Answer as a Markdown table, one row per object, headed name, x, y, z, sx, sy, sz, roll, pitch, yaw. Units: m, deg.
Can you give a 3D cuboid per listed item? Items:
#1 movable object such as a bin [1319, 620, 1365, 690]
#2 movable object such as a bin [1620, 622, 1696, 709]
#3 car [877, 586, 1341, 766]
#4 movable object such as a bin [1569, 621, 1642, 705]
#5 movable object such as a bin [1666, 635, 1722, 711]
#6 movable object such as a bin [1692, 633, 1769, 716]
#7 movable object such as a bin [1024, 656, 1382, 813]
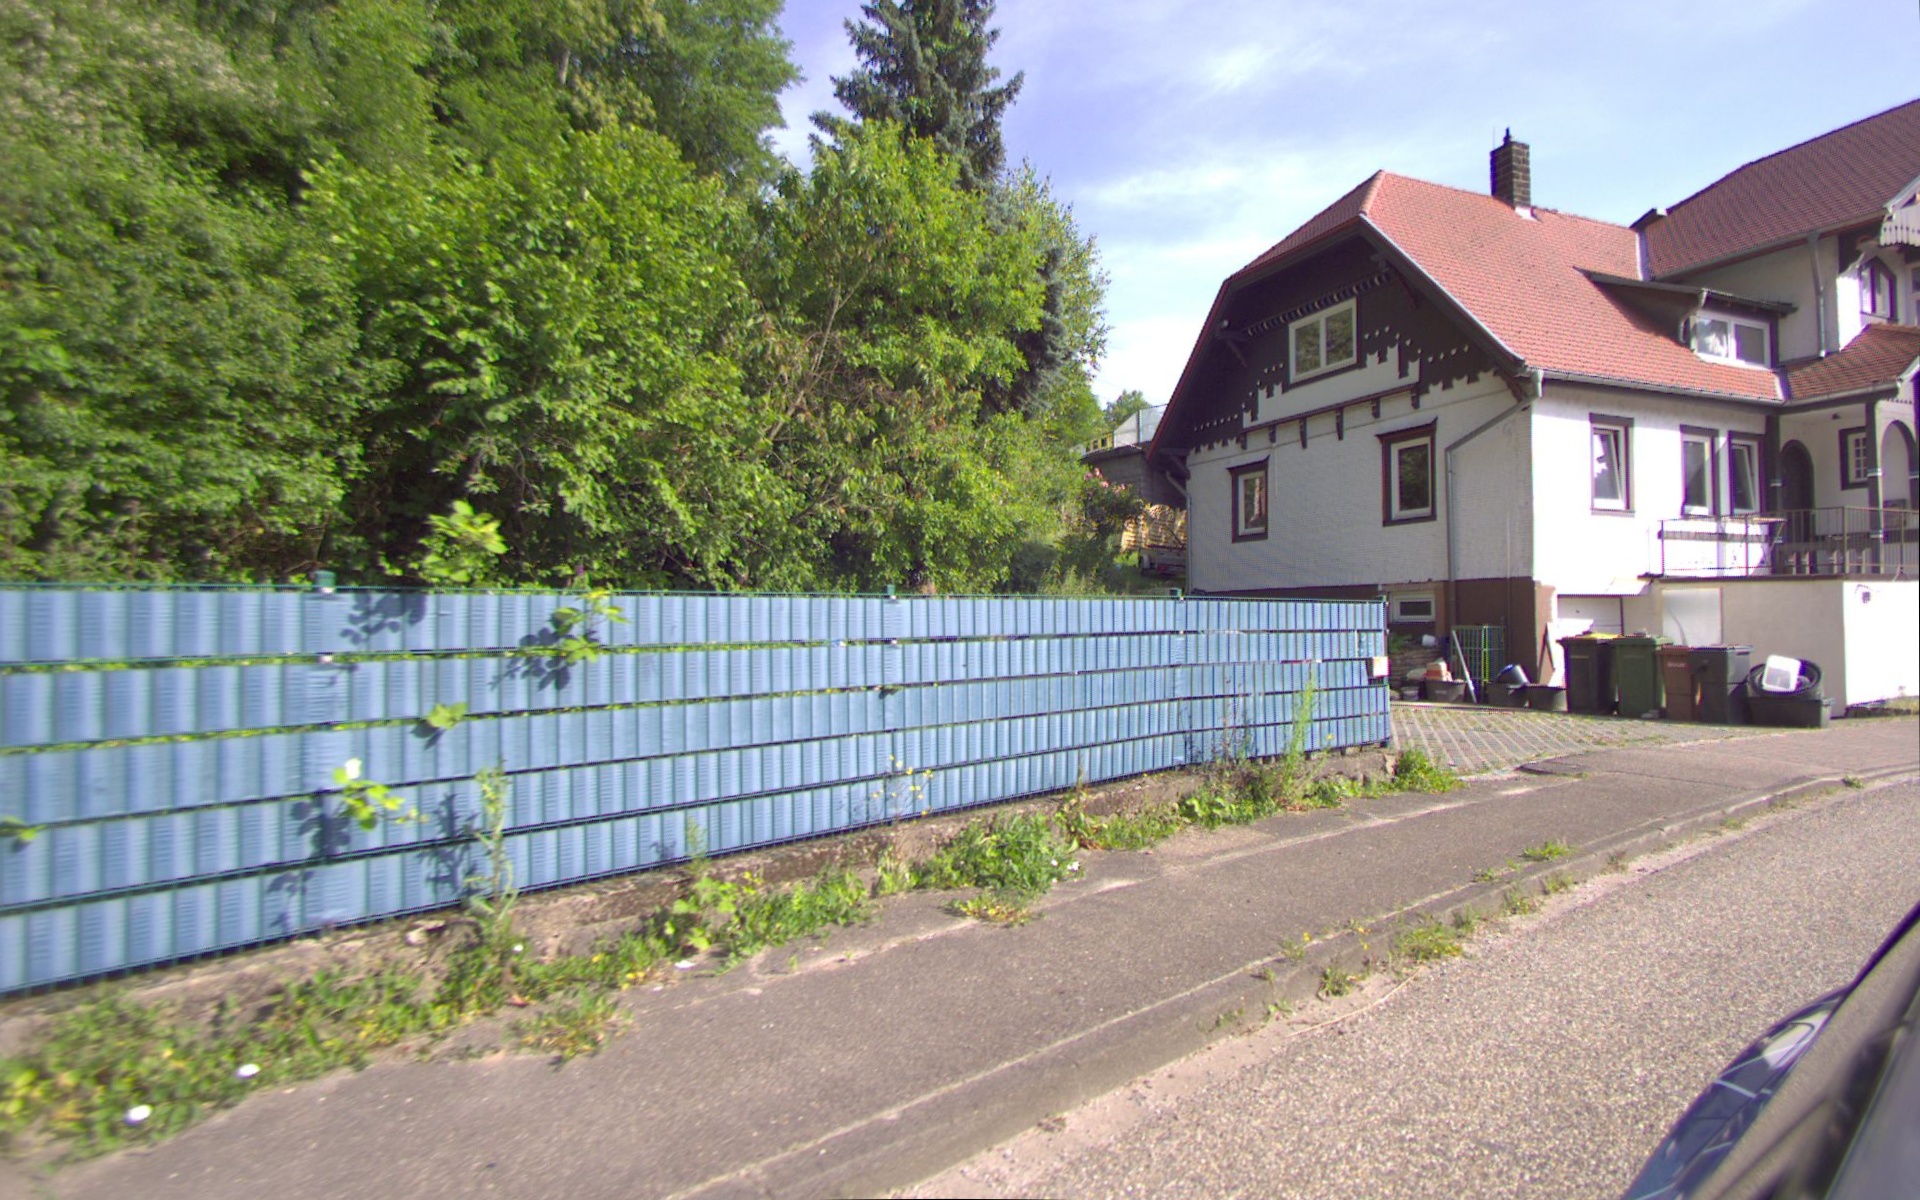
| name | x | y | z | sx | sy | sz | roll | pitch | yaw |
| --- | --- | --- | --- | --- | --- | --- | --- | --- | --- |
| movable object such as a bin | 6.150 | 0.882 | 16.311 | 0.424 | 1.097 | 0.525 | 0 | -2 | -40 |
| movable object such as a bin | 8.988 | 0.824 | 13.042 | 0.737 | 1.076 | 0.479 | 0 | -2 | -27 |
| car | 1.454 | 0.667 | 10.188 | 4.288 | 1.488 | 1.819 | -1 | -2 | 28 |
| movable object such as a bin | 8.606 | 0.830 | 13.499 | 0.737 | 1.076 | 0.479 | 0 | -2 | -27 |
| movable object such as a bin | 9.144 | 0.900 | 12.607 | 0.536 | 0.911 | 0.369 | 0 | -2 | -33 |
| movable object such as a bin | 9.199 | 0.877 | 12.081 | 0.639 | 0.949 | 0.473 | 0 | -2 | -27 |
| movable object such as a bin | 1.755 | 0.882 | 7.192 | 2.486 | 0.858 | 0.858 | -1 | -2 | -27 |
